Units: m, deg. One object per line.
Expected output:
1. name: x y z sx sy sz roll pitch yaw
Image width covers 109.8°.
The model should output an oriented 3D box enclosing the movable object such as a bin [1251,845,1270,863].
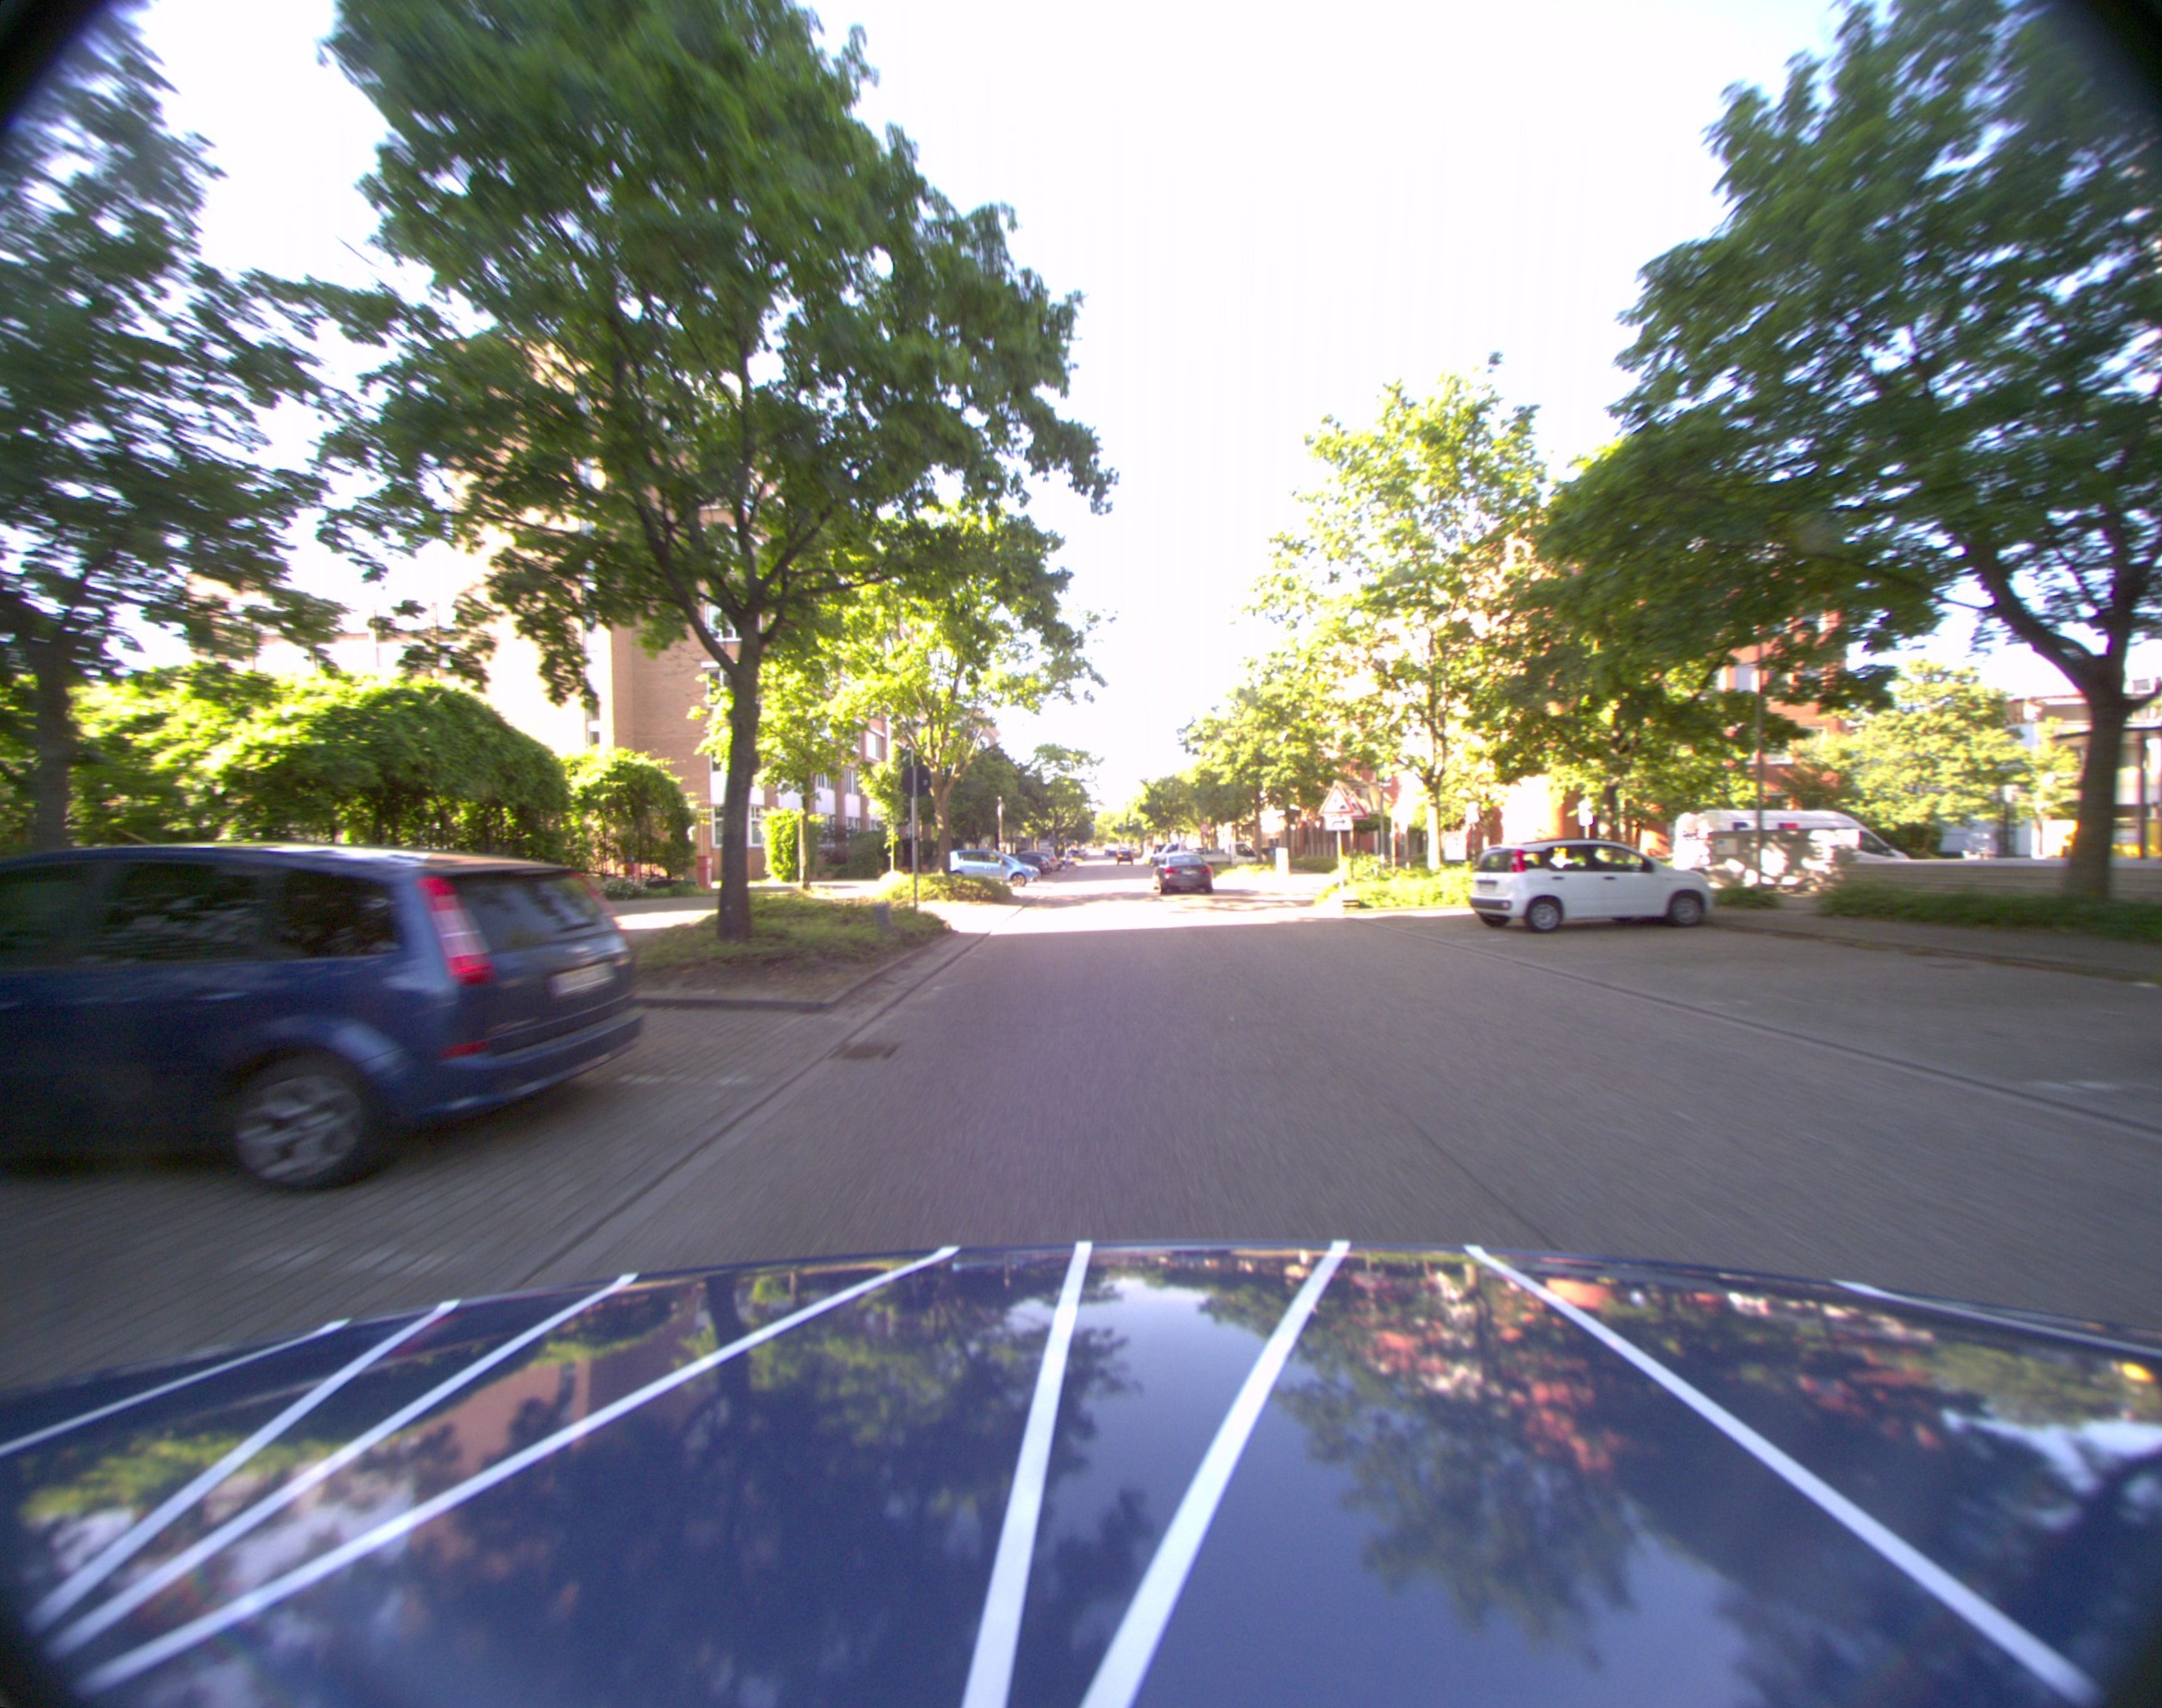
1. movable object such as a bin: 18.406 -0.030 77.986 1.602 1.786 1.664 -1 1 3

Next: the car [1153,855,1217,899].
1. car: 3.641 0.759 27.161 1.817 1.407 4.107 -1 0 2

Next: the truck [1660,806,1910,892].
1. truck: 23.662 -0.163 25.769 6.119 2.689 2.577 -1 1 -1

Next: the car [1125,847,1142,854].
1. car: 12.240 -0.833 176.998 4.003 1.411 1.618 -2 1 1

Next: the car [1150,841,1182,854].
1. car: 10.691 -0.791 95.408 3.764 1.444 1.754 -3 0 1

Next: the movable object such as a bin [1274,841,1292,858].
1. movable object such as a bin: 19.016 -0.394 71.498 1.149 1.554 1.243 -1 1 -11

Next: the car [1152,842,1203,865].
1. car: 9.173 -0.058 72.356 4.493 2.040 1.999 -3 1 -1

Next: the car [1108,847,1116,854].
1. car: 6.463 -0.772 159.903 1.648 1.412 4.000 -1 1 1

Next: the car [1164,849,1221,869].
1. car: 9.307 0.386 63.866 4.438 1.478 2.000 -2 1 0

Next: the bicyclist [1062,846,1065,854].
1. bicyclist: -3.597 -0.765 156.465 0.538 1.627 0.822 -1 1 2

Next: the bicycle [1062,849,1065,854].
1. bicycle: -3.593 -0.485 156.444 0.535 1.072 1.920 -1 1 2

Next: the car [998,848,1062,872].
1. car: -3.539 0.414 52.780 4.365 1.588 1.938 -1 1 -5

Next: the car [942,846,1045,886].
1. car: -3.903 0.532 34.414 4.416 1.609 1.912 2 1 0

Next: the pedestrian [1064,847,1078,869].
1. pedestrian: -0.790 0.333 60.663 0.921 1.701 0.697 2 0 -12

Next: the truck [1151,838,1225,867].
1. truck: 9.396 -0.137 66.873 6.247 2.408 2.187 0 1 2

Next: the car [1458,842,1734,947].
1. car: 8.617 0.632 12.944 3.590 1.541 1.636 -1 3 -1

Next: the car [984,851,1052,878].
1. car: -3.713 0.636 45.357 3.856 1.475 1.825 1 0 1

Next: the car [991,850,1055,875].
1. car: -3.574 0.523 47.284 3.809 1.400 1.702 1 0 0

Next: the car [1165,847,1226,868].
1. car: 9.158 0.304 61.140 4.552 1.433 1.890 -3 0 0

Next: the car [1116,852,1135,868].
1. car: 5.018 0.679 85.870 1.897 1.674 4.352 -1 1 -1

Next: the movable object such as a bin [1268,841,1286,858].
1. movable object such as a bin: 18.784 -0.422 72.793 1.149 1.610 1.440 -1 1 -11

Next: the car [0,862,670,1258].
1. car: -4.885 0.883 4.109 4.279 1.624 1.858 0 1 -1

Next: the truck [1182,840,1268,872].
1. truck: 8.924 0.117 47.419 4.996 1.948 2.138 0 1 3

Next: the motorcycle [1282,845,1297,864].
1. motorcycle: 18.427 0.033 67.212 0.716 1.582 2.109 -1 1 0
